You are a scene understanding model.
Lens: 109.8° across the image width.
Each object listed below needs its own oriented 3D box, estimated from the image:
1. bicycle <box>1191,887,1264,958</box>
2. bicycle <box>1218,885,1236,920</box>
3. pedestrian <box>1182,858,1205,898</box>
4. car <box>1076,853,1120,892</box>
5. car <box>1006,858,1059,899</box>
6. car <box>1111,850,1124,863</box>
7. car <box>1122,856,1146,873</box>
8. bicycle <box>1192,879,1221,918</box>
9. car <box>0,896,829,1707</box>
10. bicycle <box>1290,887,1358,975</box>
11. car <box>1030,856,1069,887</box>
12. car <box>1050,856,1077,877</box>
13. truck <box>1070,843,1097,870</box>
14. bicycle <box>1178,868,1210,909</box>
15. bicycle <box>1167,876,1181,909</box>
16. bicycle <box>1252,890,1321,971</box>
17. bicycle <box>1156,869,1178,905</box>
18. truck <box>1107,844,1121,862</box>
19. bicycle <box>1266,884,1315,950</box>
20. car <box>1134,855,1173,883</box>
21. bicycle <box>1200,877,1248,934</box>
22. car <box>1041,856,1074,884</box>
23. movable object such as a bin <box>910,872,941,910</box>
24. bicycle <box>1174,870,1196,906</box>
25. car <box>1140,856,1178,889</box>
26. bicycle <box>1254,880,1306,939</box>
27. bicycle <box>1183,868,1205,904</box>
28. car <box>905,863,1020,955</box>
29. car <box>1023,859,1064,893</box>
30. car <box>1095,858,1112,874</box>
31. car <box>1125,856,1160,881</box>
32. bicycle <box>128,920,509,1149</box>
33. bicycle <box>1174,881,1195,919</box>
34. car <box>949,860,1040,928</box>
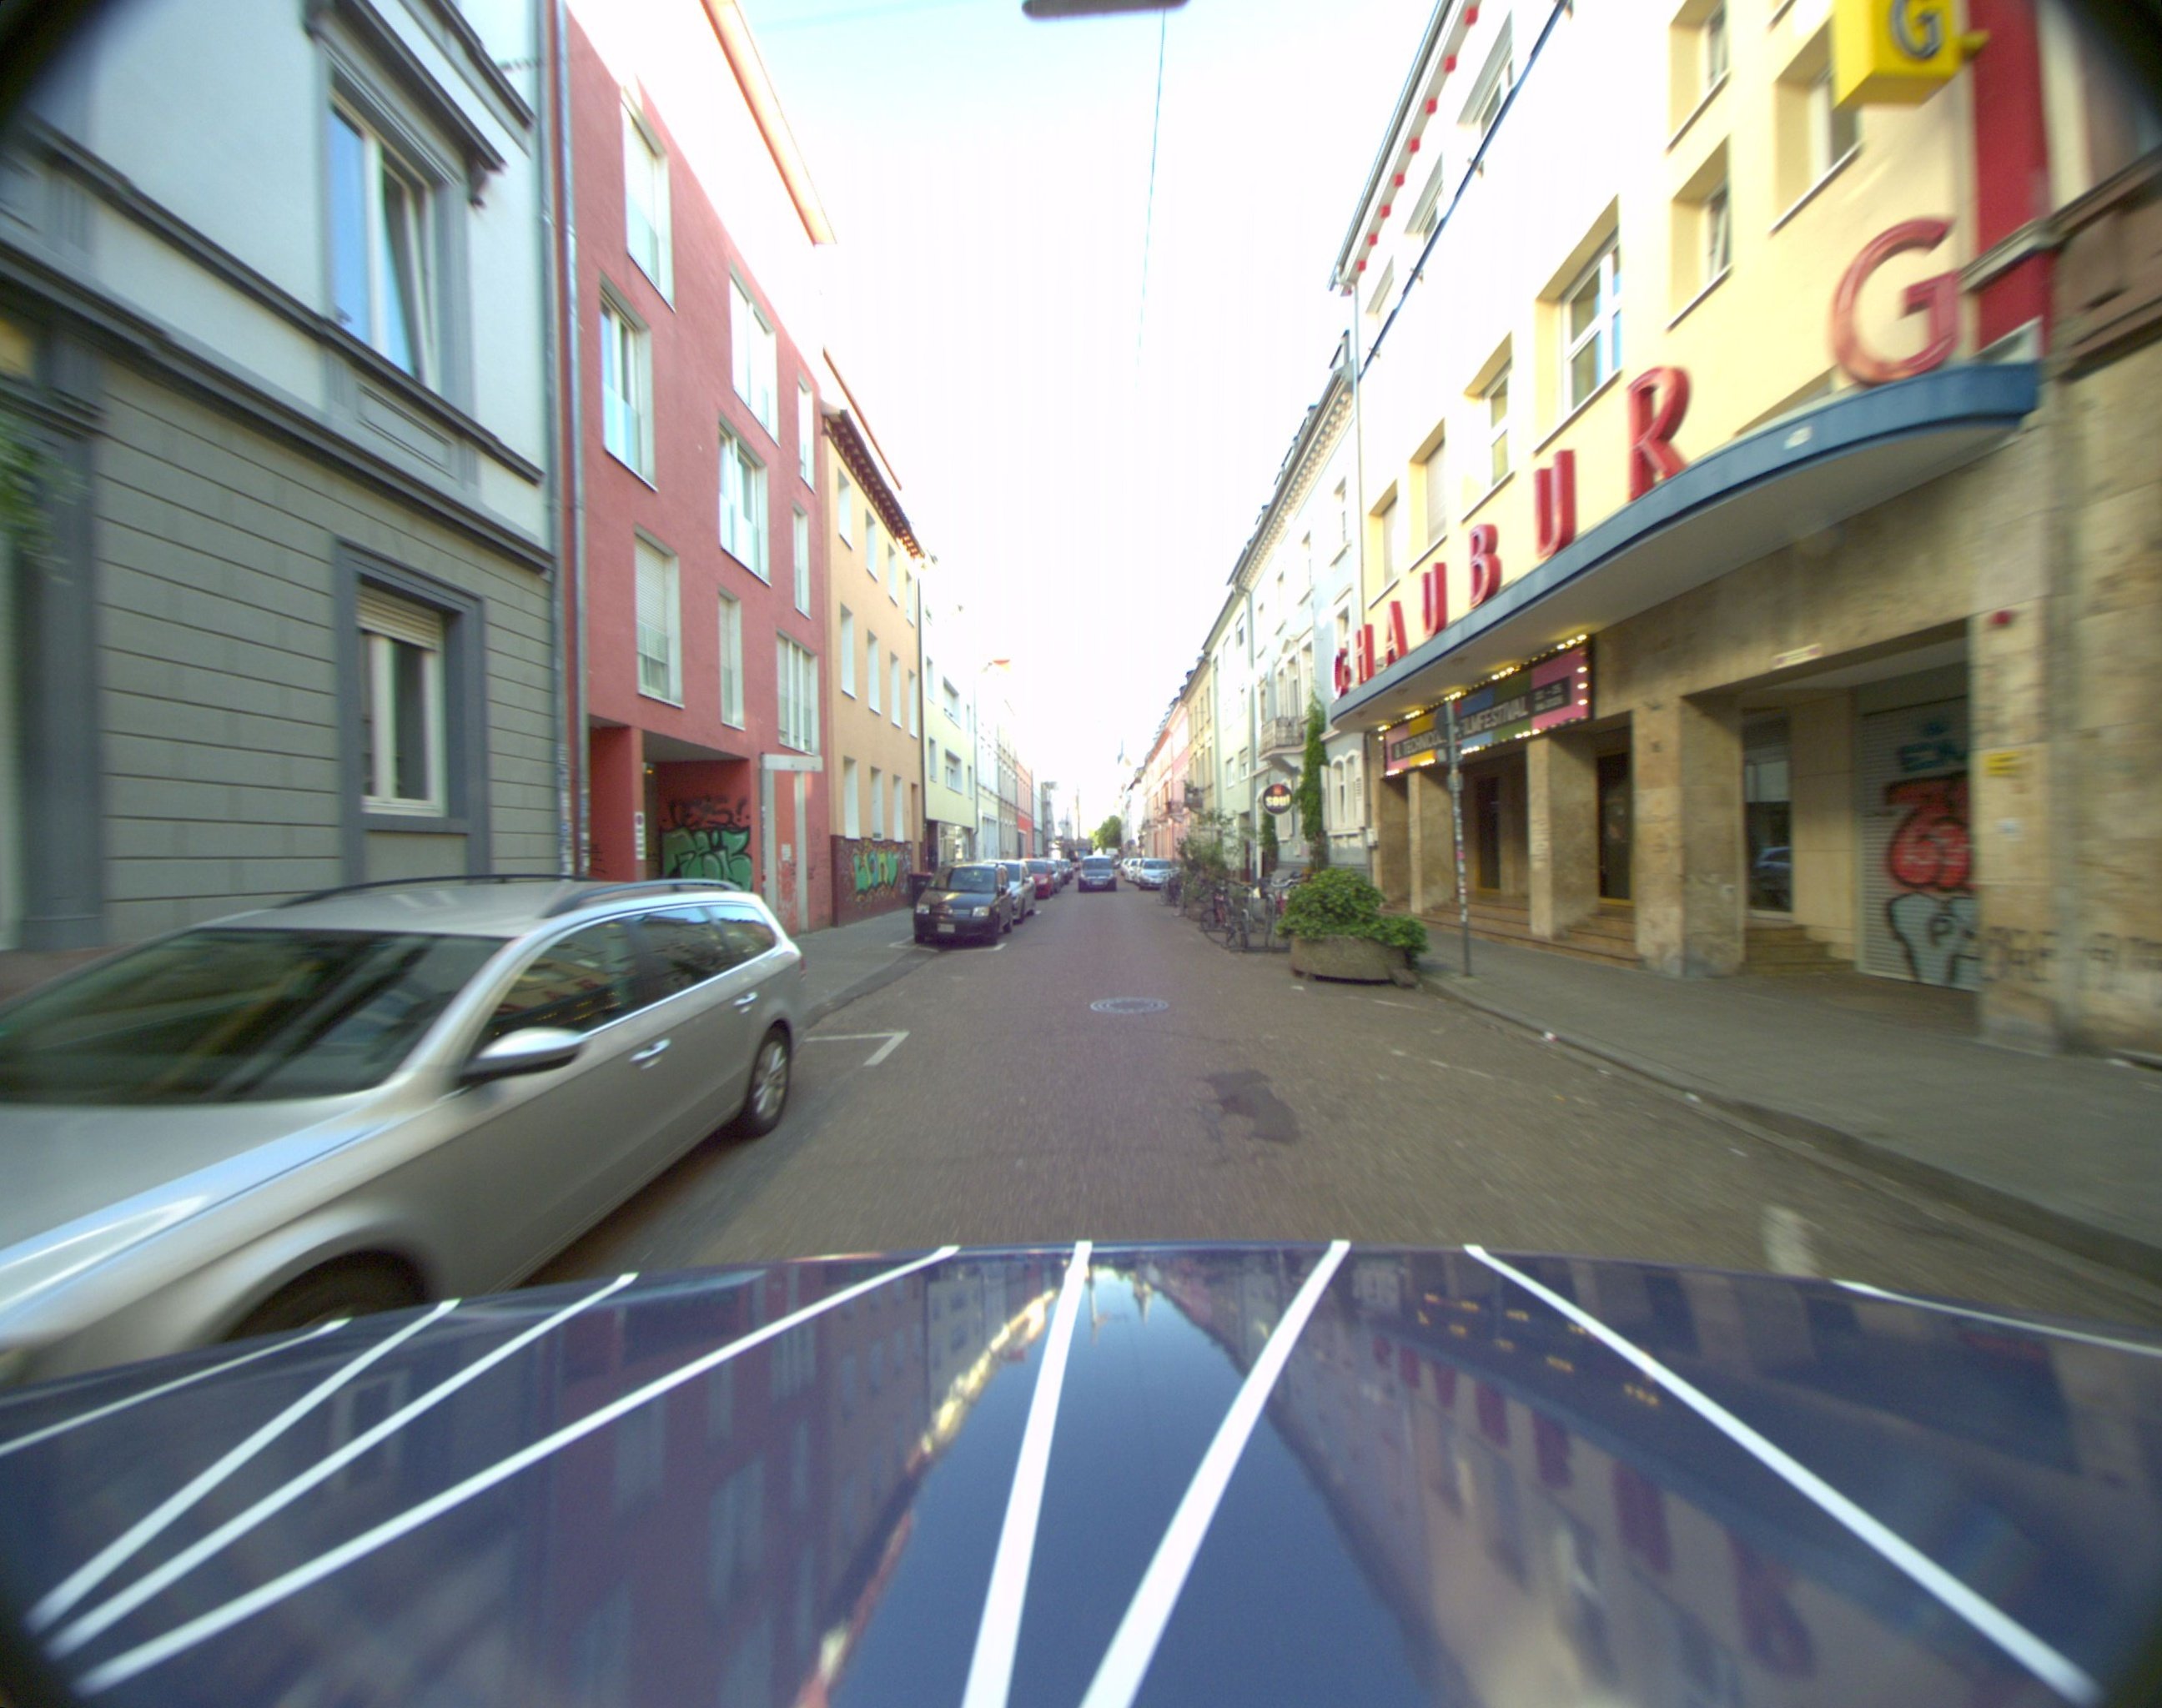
[{"bbox_3d":[2.439,1.115,12.823,0.462,1.041,1.748,-3,0,-14],"label":"bicycle"},{"bbox_3d":[3.784,1.256,19.753,0.256,0.813,1.299,-2,0,2],"label":"bicycle"},{"bbox_3d":[4.822,1.028,32.482,0.713,1.698,0.673,-2,1,33],"label":"pedestrian"},{"bbox_3d":[0.784,0.771,34.197,1.832,1.650,4.213,-1,0,1],"label":"car"},{"bbox_3d":[-1.868,0.919,30.468,1.701,1.514,3.981,0,0,2],"label":"car"},{"bbox_3d":[5.711,0.422,118.687,1.998,2.002,4.259,-1,0,2],"label":"car"},{"bbox_3d":[4.386,0.845,63.626,1.771,1.335,4.380,0,0,0],"label":"car"},{"bbox_3d":[3.335,1.164,20.316,0.555,0.938,1.572,-1,0,2],"label":"bicycle"},{"bbox_3d":[-2.668,1.043,2.941,1.790,1.446,4.547,2,0,1],"label":"car"},{"bbox_3d":[3.723,1.141,11.756,0.400,1.167,1.669,-3,0,-3],"label":"bicycle"},{"bbox_3d":[-1.655,0.899,40.563,1.794,1.542,4.000,-1,0,1],"label":"car"},{"bbox_3d":[-1.247,0.906,56.319,1.831,1.474,4.464,0,0,1],"label":"car"},{"bbox_3d":[0.305,0.239,85.237,2.819,2.735,7.678,-3,0,1],"label":"truck"},{"bbox_3d":[3.443,1.039,23.178,0.815,1.168,0.920,-1,0,-1],"label":"bicycle"},{"bbox_3d":[2.835,1.165,23.224,0.322,0.911,1.290,-1,0,2],"label":"bicycle"},{"bbox_3d":[3.133,1.132,11.741,0.443,1.041,1.865,-3,0,-2],"label":"bicycle"},{"bbox_3d":[2.793,1.060,24.822,0.500,1.099,1.830,-2,0,1],"label":"bicycle"},{"bbox_3d":[6.390,-0.236,147.323,2.524,3.271,6.643,-1,0,2],"label":"truck"},{"bbox_3d":[3.678,1.078,13.394,0.418,1.041,1.318,-3,0,-2],"label":"bicycle"},{"bbox_3d":[3.894,0.791,41.309,1.794,1.443,4.000,-1,0,1],"label":"car"},{"bbox_3d":[3.043,1.069,16.340,0.547,1.087,1.881,-3,0,-2],"label":"bicycle"},{"bbox_3d":[-1.392,0.924,46.083,1.766,1.513,4.380,-2,0,1],"label":"car"},{"bbox_3d":[-4.545,1.081,22.260,0.694,1.052,0.736,1,1,2],"label":"movable object such as a bin"},{"bbox_3d":[3.383,1.086,24.843,0.444,1.099,1.932,-2,0,1],"label":"bicycle"},{"bbox_3d":[3.628,0.845,35.816,1.684,1.446,4.035,0,0,5],"label":"car"},{"bbox_3d":[3.897,1.076,14.974,0.575,1.039,1.409,-2,0,-3],"label":"bicycle"},{"bbox_3d":[3.744,1.051,25.274,0.444,1.099,1.874,-2,0,0],"label":"bicycle"},{"bbox_3d":[-2.237,1.002,15.176,1.606,1.530,3.450,1,0,2],"label":"car"},{"bbox_3d":[-1.679,0.978,35.043,1.692,1.444,4.193,0,0,0],"label":"car"},{"bbox_3d":[2.236,1.150,77.014,1.644,1.528,3.842,-1,0,1],"label":"car"},{"bbox_3d":[3.712,0.836,46.326,1.792,1.454,4.200,0,0,0],"label":"car"},{"bbox_3d":[-5.004,1.102,5.222,0.712,1.091,1.900,2,1,-1],"label":"bicycle"},{"bbox_3d":[2.718,1.197,19.980,0.391,0.911,1.393,-1,0,2],"label":"bicycle"},{"bbox_3d":[-2.154,0.954,20.014,1.750,1.547,4.172,-1,0,2],"label":"car"}]
